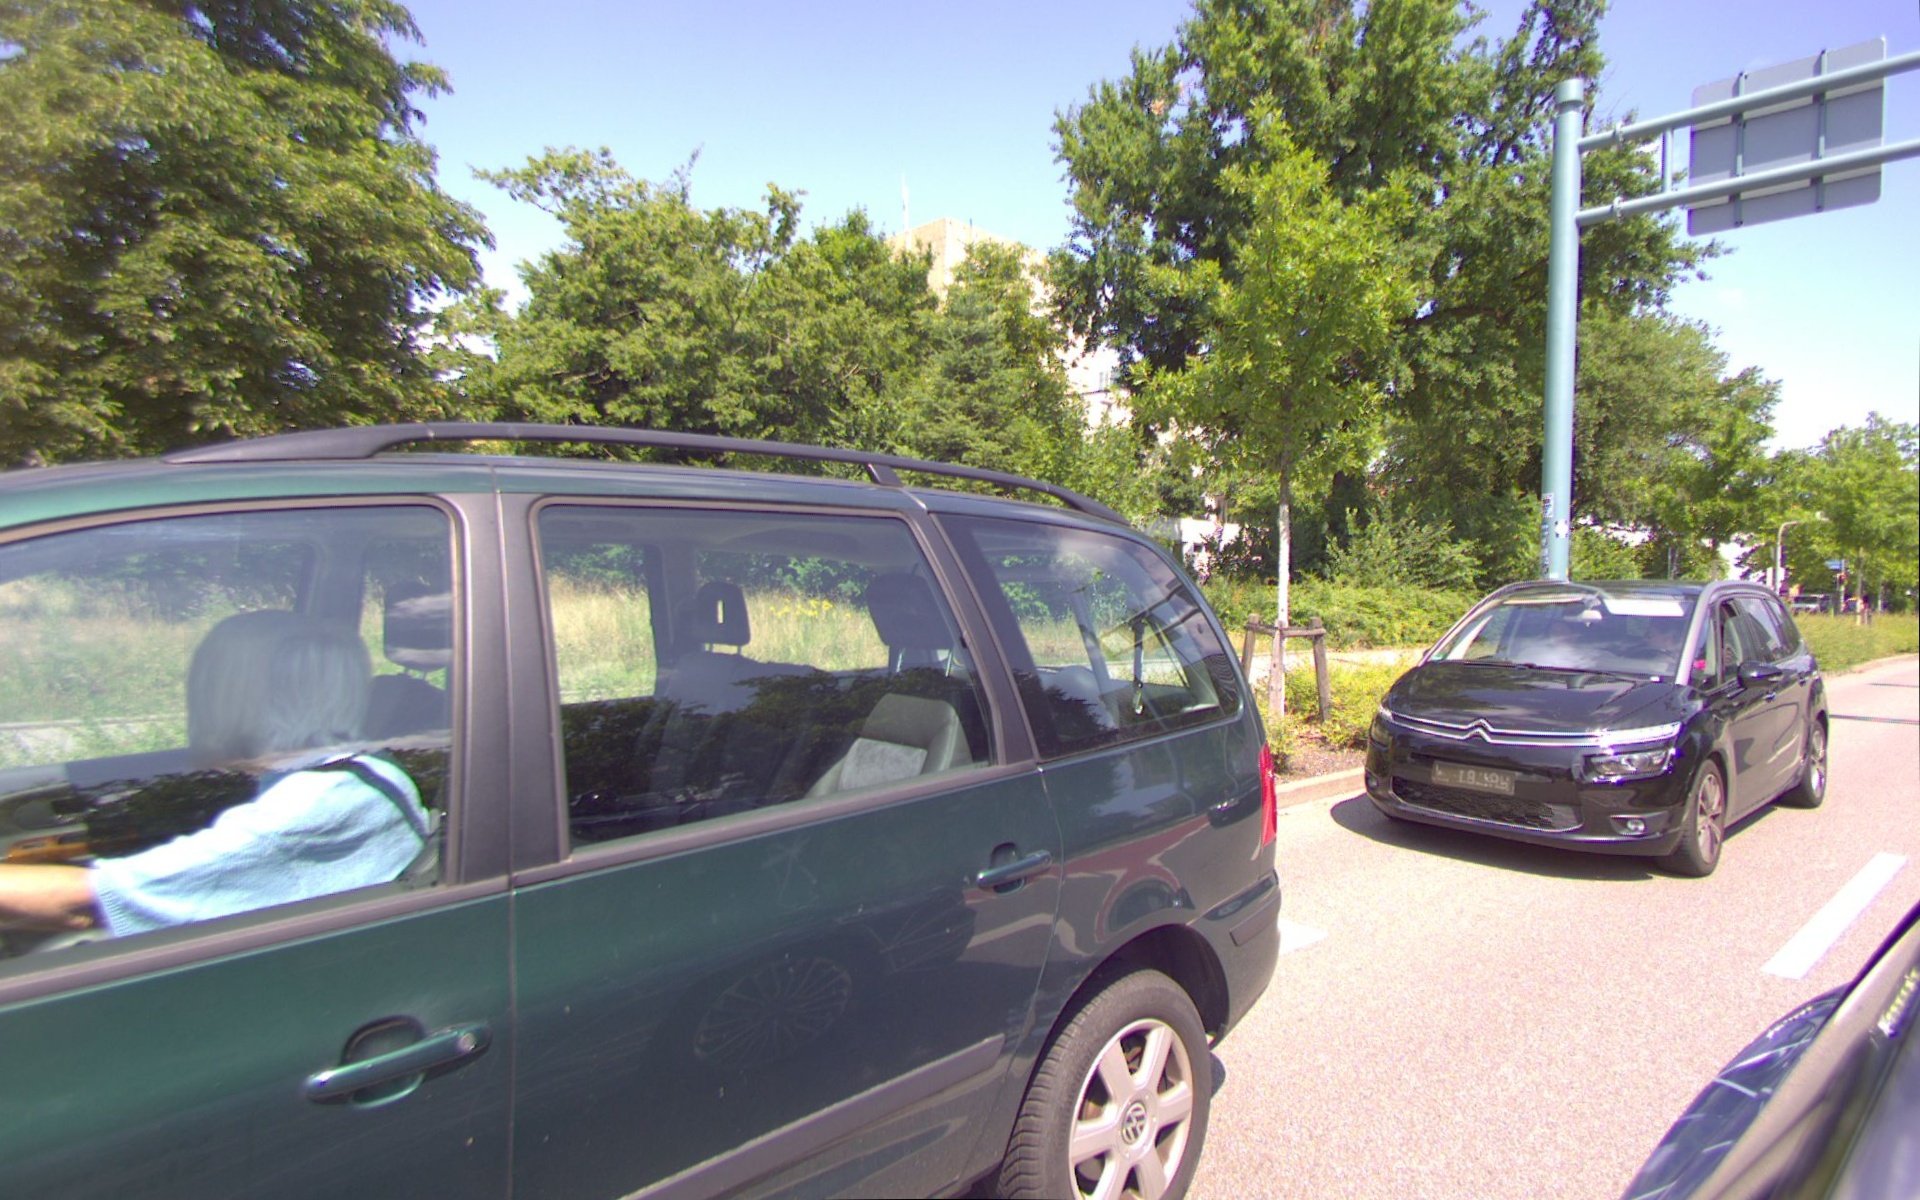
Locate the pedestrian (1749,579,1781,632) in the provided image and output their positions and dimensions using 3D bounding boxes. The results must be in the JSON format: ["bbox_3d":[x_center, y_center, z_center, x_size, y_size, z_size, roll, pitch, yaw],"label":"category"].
[{"bbox_3d":[32.077,0.223,40.359,0.839,2.063,0.892,1,0,31],"label":"pedestrian"}]

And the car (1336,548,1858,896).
[{"bbox_3d":[4.526,0.586,6.888,4.400,1.628,1.815,1,-1,-41],"label":"car"}]

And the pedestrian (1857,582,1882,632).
[{"bbox_3d":[33.264,0.245,37.017,0.637,1.787,0.872,2,1,43],"label":"pedestrian"}]

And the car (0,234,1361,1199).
[{"bbox_3d":[-1.135,0.524,1.967,4.315,1.737,1.804,0,-1,-41],"label":"car"}]
